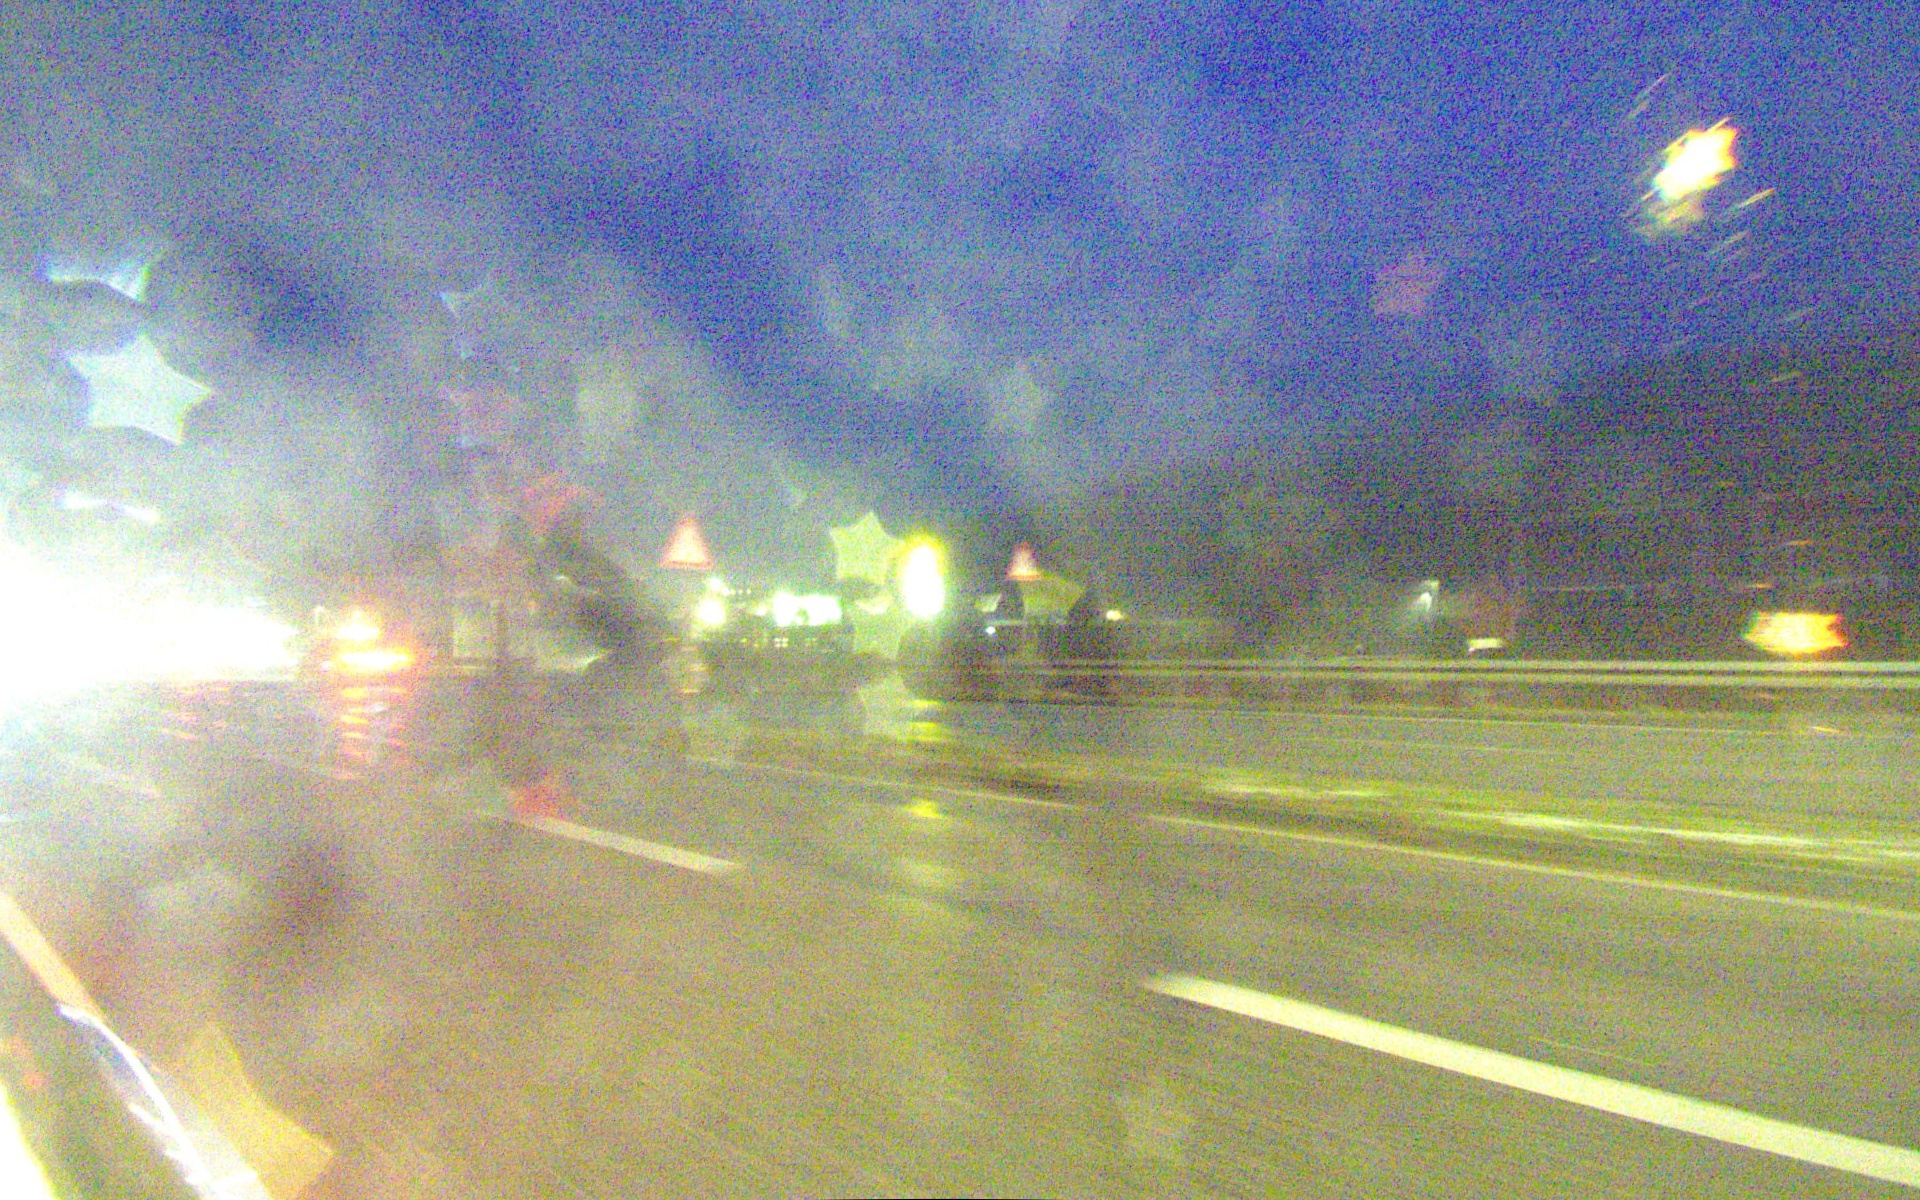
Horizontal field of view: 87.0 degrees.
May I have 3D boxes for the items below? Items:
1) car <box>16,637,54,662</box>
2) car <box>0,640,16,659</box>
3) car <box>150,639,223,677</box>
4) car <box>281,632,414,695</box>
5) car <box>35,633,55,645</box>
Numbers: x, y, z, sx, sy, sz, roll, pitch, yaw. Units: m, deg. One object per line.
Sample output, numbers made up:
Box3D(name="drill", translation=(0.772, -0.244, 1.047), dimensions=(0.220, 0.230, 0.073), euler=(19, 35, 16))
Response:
Box3D(name="car", translation=(-60.253, 3.187, 65.976), dimensions=(1.781, 1.435, 4.211), euler=(-1, 0, -42))
Box3D(name="car", translation=(-81.450, 4.226, 85.939), dimensions=(1.782, 1.435, 4.209), euler=(-1, 0, -44))
Box3D(name="car", translation=(-33.539, 2.465, 43.856), dimensions=(4.204, 1.435, 1.784), euler=(-1, 0, 42))
Box3D(name="car", translation=(-19.169, 1.920, 31.625), dimensions=(4.571, 1.713, 2.069), euler=(-1, 0, 38))
Box3D(name="car", translation=(-122.021, 5.189, 134.982), dimensions=(1.781, 1.435, 4.213), euler=(-1, 0, -39))
